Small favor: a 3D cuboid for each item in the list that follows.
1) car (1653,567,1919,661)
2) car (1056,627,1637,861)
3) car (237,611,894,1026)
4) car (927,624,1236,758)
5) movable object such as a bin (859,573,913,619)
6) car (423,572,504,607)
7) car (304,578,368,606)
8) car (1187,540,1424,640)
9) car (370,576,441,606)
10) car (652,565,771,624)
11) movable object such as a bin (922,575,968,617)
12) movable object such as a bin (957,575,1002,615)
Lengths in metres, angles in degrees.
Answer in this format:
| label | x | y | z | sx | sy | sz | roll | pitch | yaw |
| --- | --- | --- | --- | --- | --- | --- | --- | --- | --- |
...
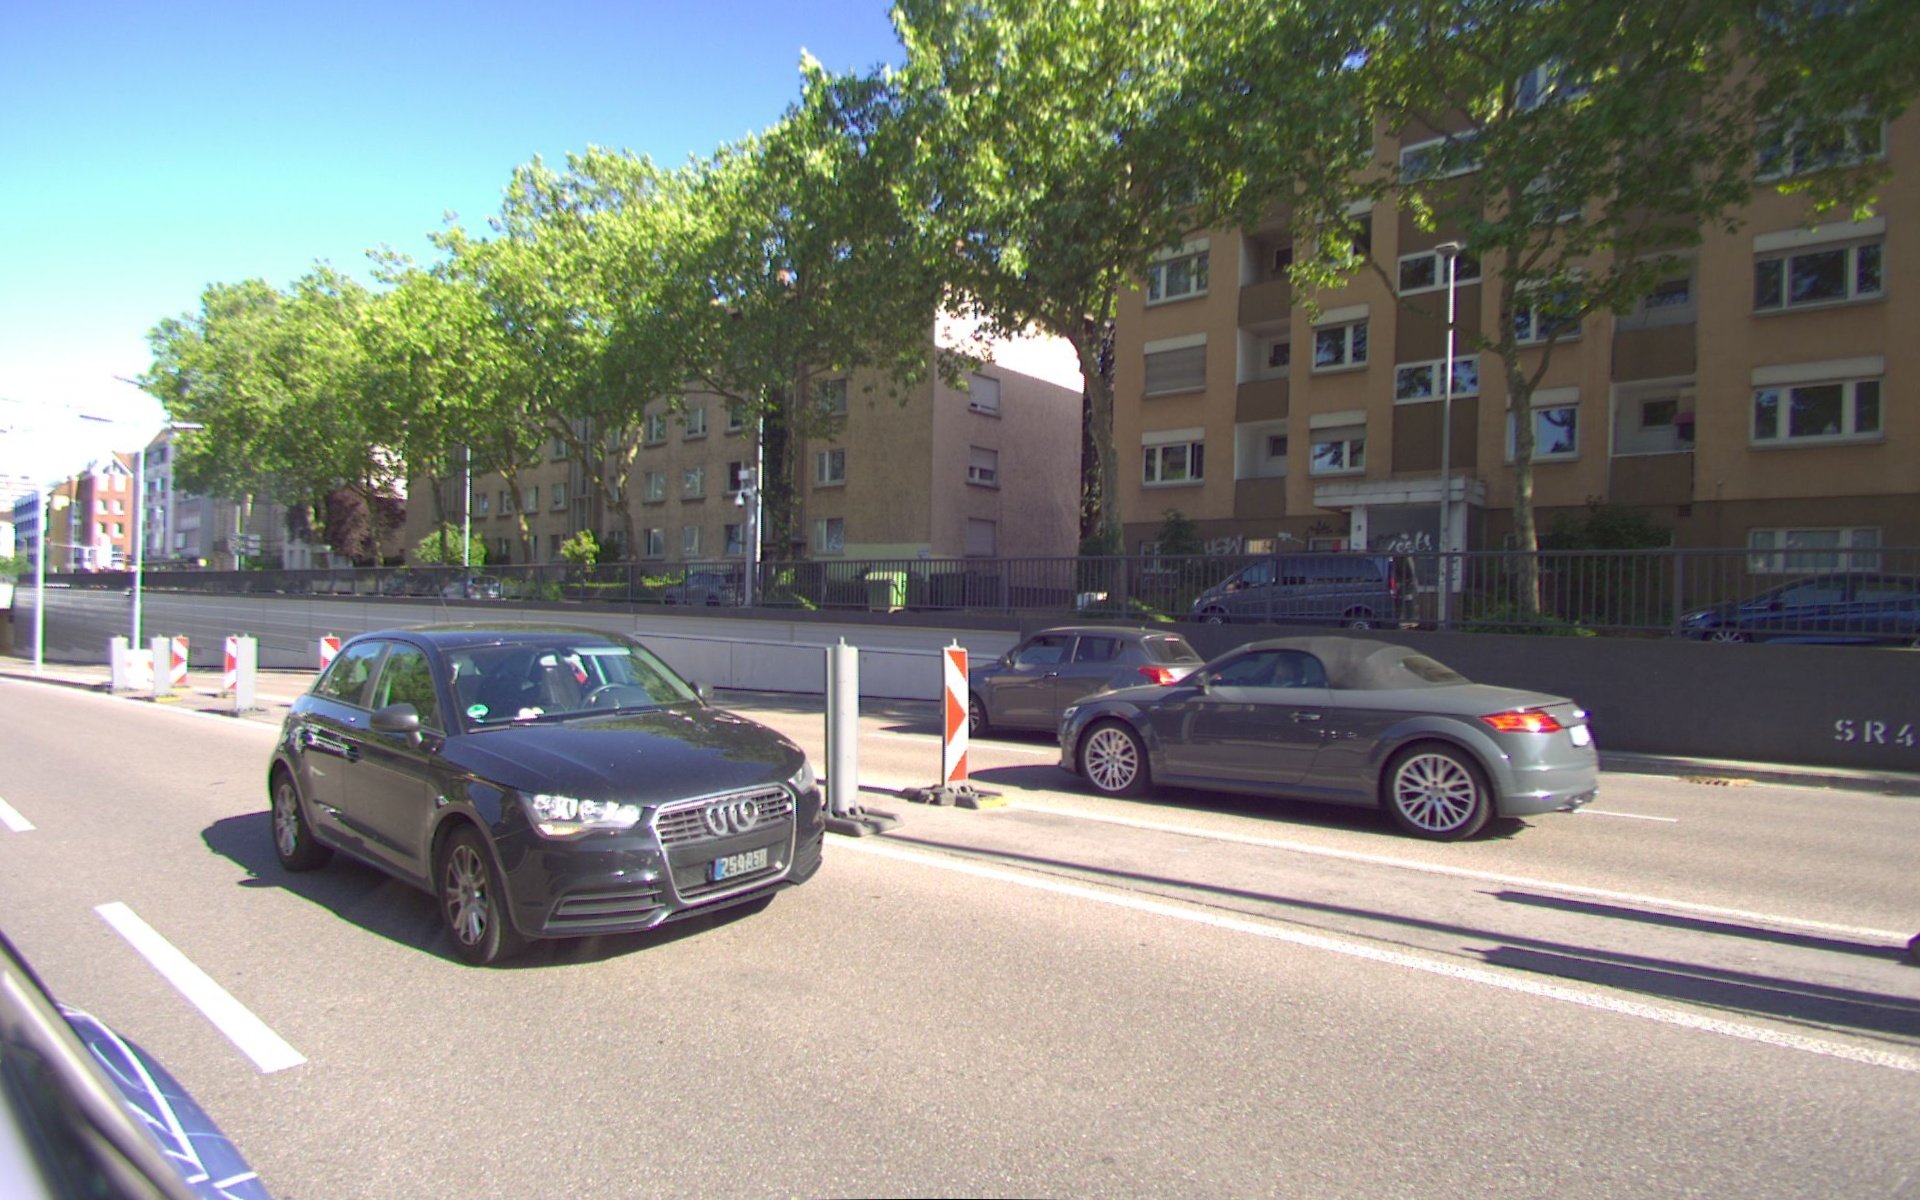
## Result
| label | x | y | z | sx | sy | sz | roll | pitch | yaw |
| --- | --- | --- | --- | --- | --- | --- | --- | --- | --- |
| car | 13.982 | 0.206 | 16.588 | 4.170 | 1.399 | 1.973 | 0 | 0 | 41 |
| car | 2.806 | 0.928 | 7.834 | 3.925 | 1.310 | 1.523 | 0 | -4 | 40 |
| car | -2.339 | 0.798 | 5.501 | 3.885 | 1.429 | 1.678 | 0 | 0 | 40 |
| car | 1.472 | 1.083 | 12.982 | 3.714 | 1.476 | 1.523 | -1 | -4 | 40 |
| movable object such as a bin | -2.454 | -0.128 | 33.800 | 1.354 | 1.495 | 1.196 | 0 | 0 | 33 |
| car | -24.129 | -0.488 | 49.101 | 4.299 | 1.596 | 1.902 | 0 | 0 | 39 |
| car | -37.390 | -0.461 | 60.606 | 4.299 | 1.596 | 1.902 | 0 | 0 | 39 |
| car | 7.455 | -0.206 | 22.085 | 4.522 | 1.975 | 1.946 | 0 | 0 | 39 |
| car | -30.013 | -0.482 | 54.749 | 4.299 | 1.596 | 1.902 | 0 | 0 | 39 |
| car | -8.984 | -0.197 | 36.428 | 4.411 | 1.975 | 1.945 | 0 | 0 | 41 |
| movable object such as a bin | -0.545 | -0.164 | 36.907 | 1.146 | 1.495 | 1.301 | 0 | 0 | 38 |
| movable object such as a bin | 0.750 | -0.195 | 38.092 | 1.146 | 1.495 | 1.301 | 0 | 0 | 38 |
